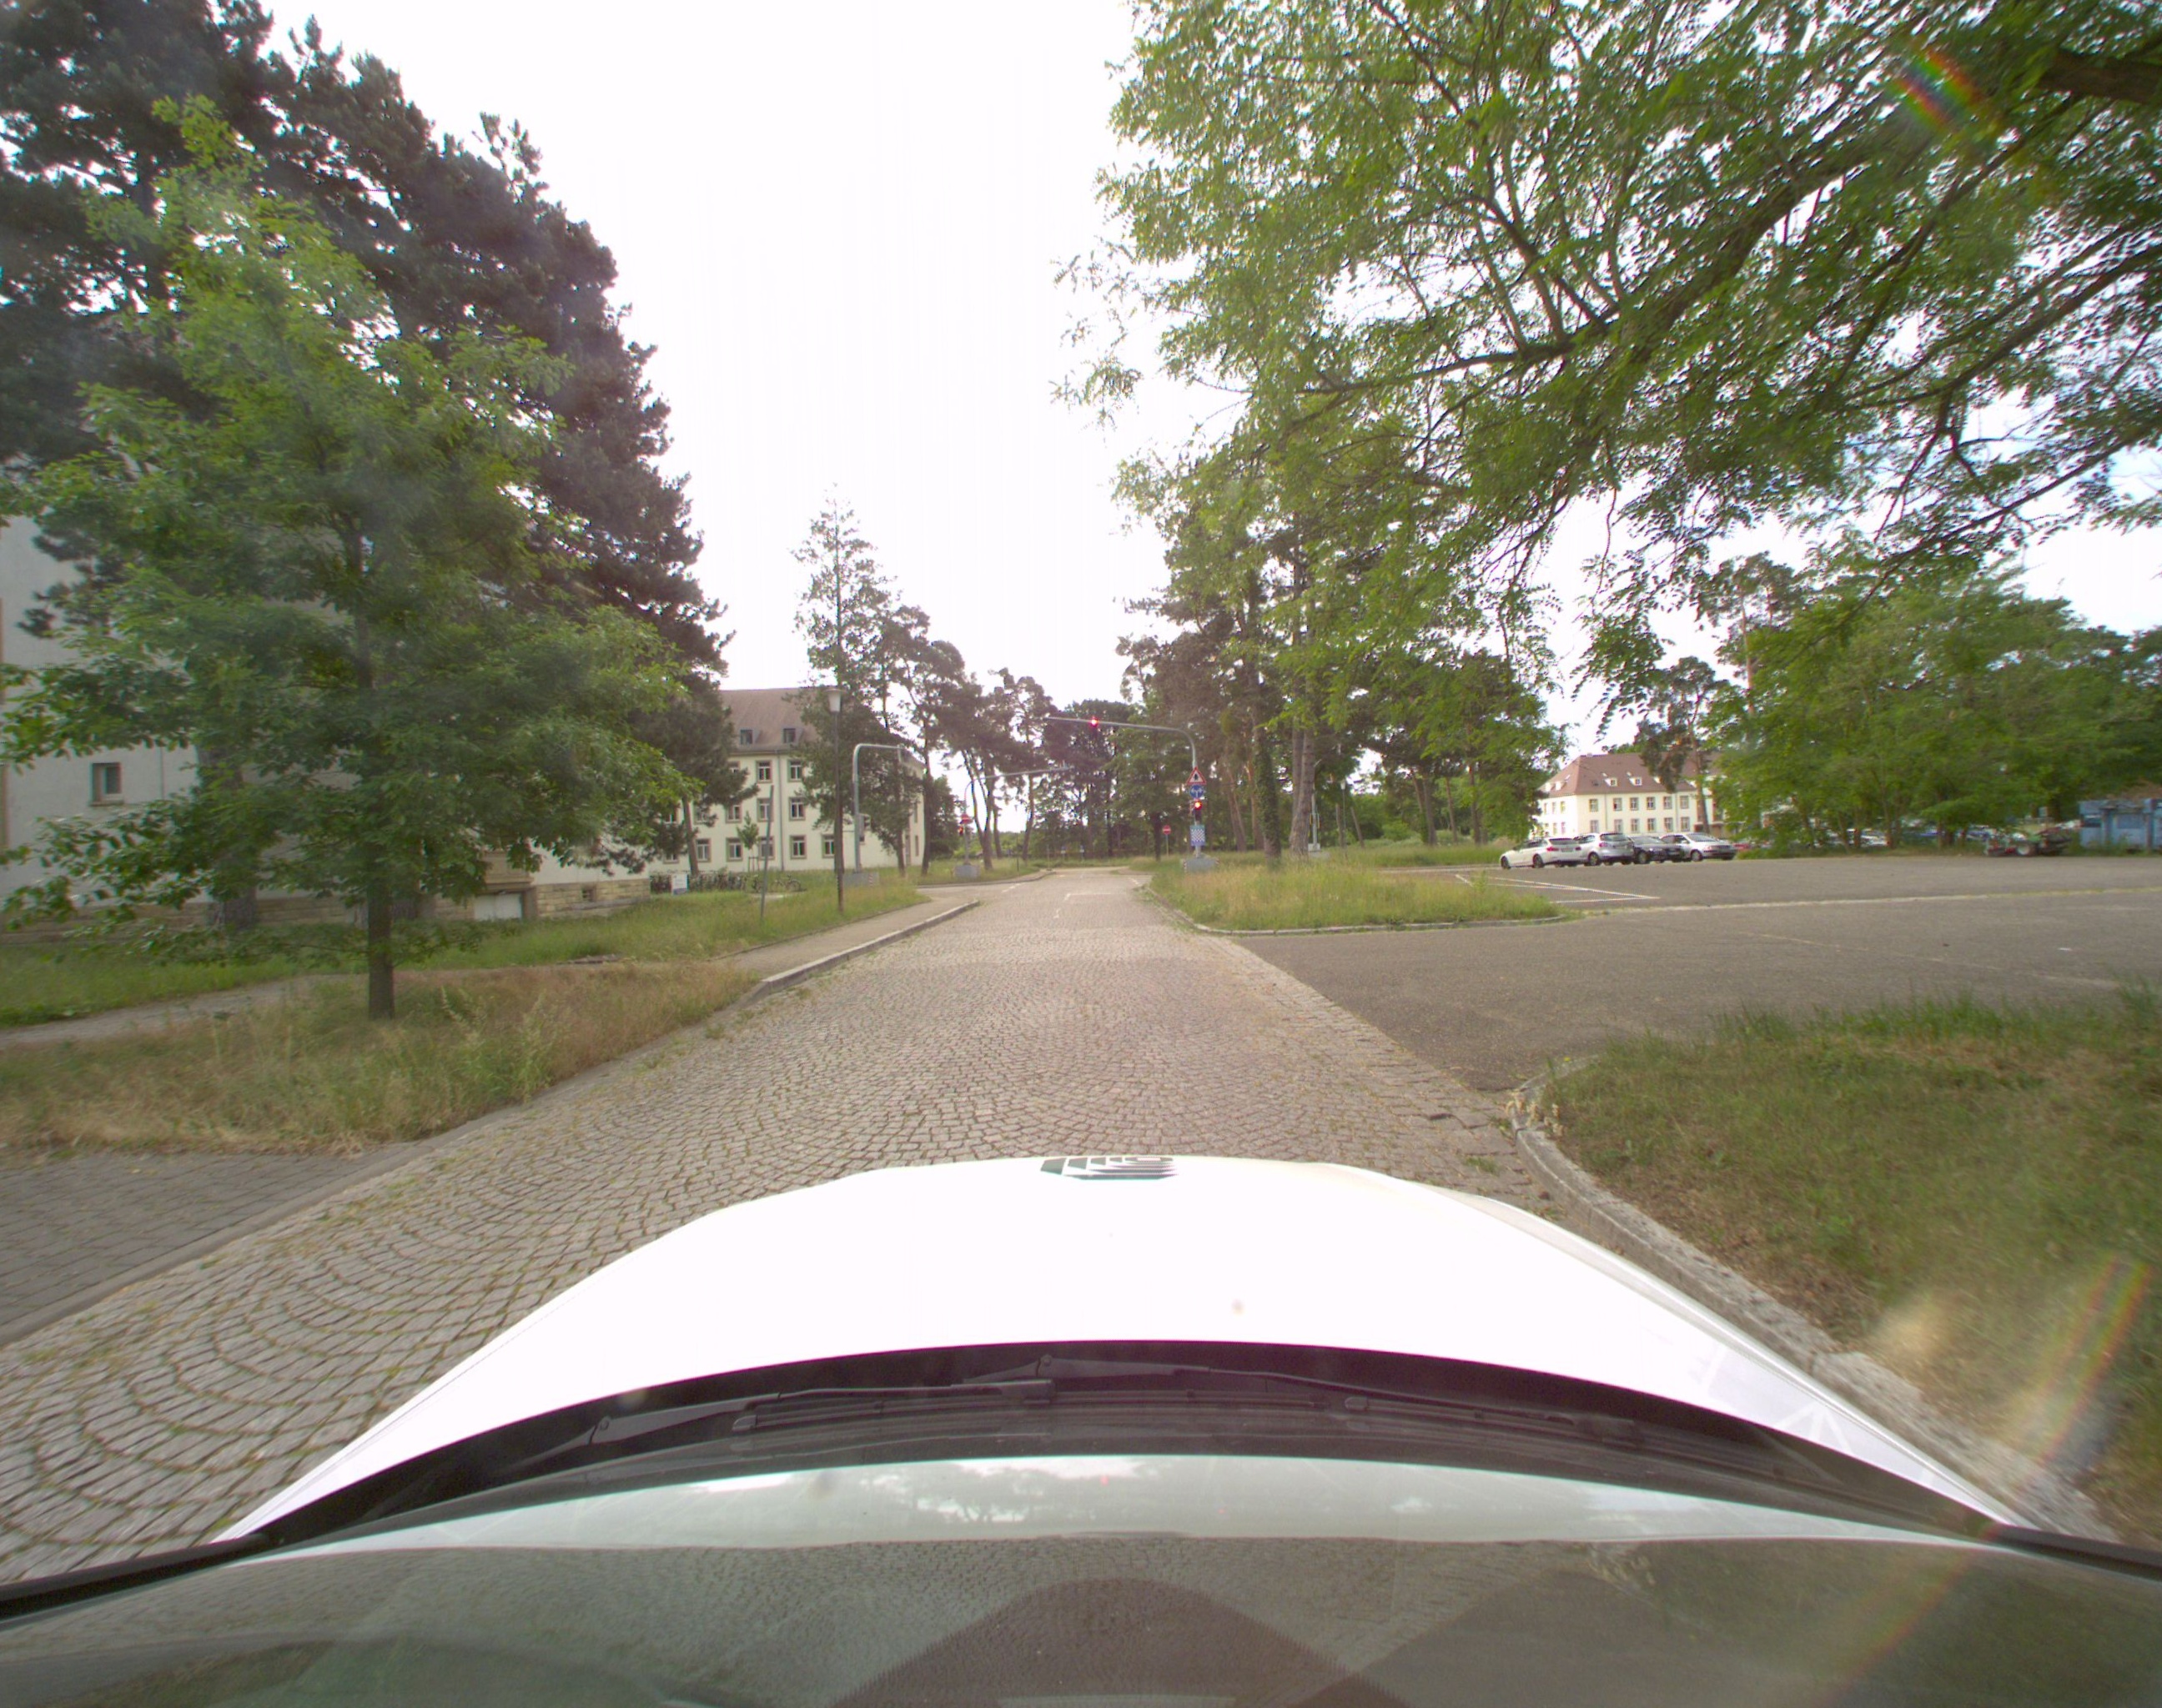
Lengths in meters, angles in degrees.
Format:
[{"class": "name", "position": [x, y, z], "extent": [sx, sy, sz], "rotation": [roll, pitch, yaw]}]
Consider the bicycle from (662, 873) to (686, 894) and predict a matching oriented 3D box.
[{"class": "bicycle", "position": [-22.959, 1.661, 45.953], "extent": [0.513, 1.079, 1.586], "rotation": [-3, 0, 1]}]

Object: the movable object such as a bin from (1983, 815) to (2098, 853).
[{"class": "movable object such as a bin", "position": [30.705, -0.613, 26.120], "extent": [0.959, 1.134, 2.207], "rotation": [-1, 0, -8]}]

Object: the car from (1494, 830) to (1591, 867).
[{"class": "car", "position": [21.721, -0.229, 38.593], "extent": [1.843, 1.487, 4.605], "rotation": [-1, -3, -2]}]

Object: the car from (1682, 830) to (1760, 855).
[{"class": "car", "position": [39.049, -0.700, 49.826], "extent": [1.725, 1.390, 4.251], "rotation": [-2, 0, 6]}]

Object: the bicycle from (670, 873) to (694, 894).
[{"class": "bicycle", "position": [-22.507, 1.654, 45.961], "extent": [0.513, 1.079, 1.586], "rotation": [-3, 0, 1]}]

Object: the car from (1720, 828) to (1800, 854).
[{"class": "car", "position": [41.668, -0.788, 50.124], "extent": [1.725, 1.472, 4.251], "rotation": [-2, 0, 6]}]

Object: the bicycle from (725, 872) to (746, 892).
[{"class": "bicycle", "position": [-19.513, 1.590, 46.031], "extent": [0.513, 1.079, 1.584], "rotation": [-3, 0, -2]}]

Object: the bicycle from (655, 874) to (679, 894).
[{"class": "bicycle", "position": [-23.343, 1.695, 45.943], "extent": [0.513, 1.079, 1.586], "rotation": [-3, 0, 1]}]

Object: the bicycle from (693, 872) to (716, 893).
[{"class": "bicycle", "position": [-21.255, 1.608, 46.034], "extent": [0.513, 1.079, 1.586], "rotation": [-3, 0, 1]}]

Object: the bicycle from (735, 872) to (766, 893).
[{"class": "bicycle", "position": [-18.111, 1.540, 44.652], "extent": [1.460, 1.079, 0.516], "rotation": [-3, 0, -2]}]

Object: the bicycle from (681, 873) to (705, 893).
[{"class": "bicycle", "position": [-21.885, 1.625, 45.984], "extent": [0.513, 1.079, 1.586], "rotation": [-3, 0, 1]}]

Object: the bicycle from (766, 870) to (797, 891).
[{"class": "bicycle", "position": [-16.476, 1.449, 44.825], "extent": [1.460, 1.065, 0.516], "rotation": [-3, 0, -2]}]

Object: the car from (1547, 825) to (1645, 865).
[{"class": "car", "position": [24.357, -0.384, 38.710], "extent": [1.777, 1.605, 4.239], "rotation": [-2, -2, -2]}]

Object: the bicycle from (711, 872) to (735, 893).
[{"class": "bicycle", "position": [-20.191, 1.597, 45.940], "extent": [0.512, 1.079, 1.587], "rotation": [-3, 0, 4]}]

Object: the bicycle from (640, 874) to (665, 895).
[{"class": "bicycle", "position": [-24.139, 1.720, 45.941], "extent": [0.513, 1.079, 1.586], "rotation": [-3, 0, 1]}]

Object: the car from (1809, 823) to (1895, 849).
[{"class": "car", "position": [47.327, -1.068, 50.118], "extent": [1.608, 1.501, 4.251], "rotation": [-2, 0, 6]}]

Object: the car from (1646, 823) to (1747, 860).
[{"class": "car", "position": [29.724, -0.553, 39.502], "extent": [1.694, 1.485, 4.245], "rotation": [-2, -2, 2]}]

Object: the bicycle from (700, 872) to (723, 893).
[{"class": "bicycle", "position": [-20.894, 1.605, 46.030], "extent": [0.513, 1.079, 1.586], "rotation": [-3, 0, 1]}]

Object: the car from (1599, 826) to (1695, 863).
[{"class": "car", "position": [26.986, -0.393, 39.011], "extent": [1.694, 1.485, 4.245], "rotation": [-2, -2, 2]}]
